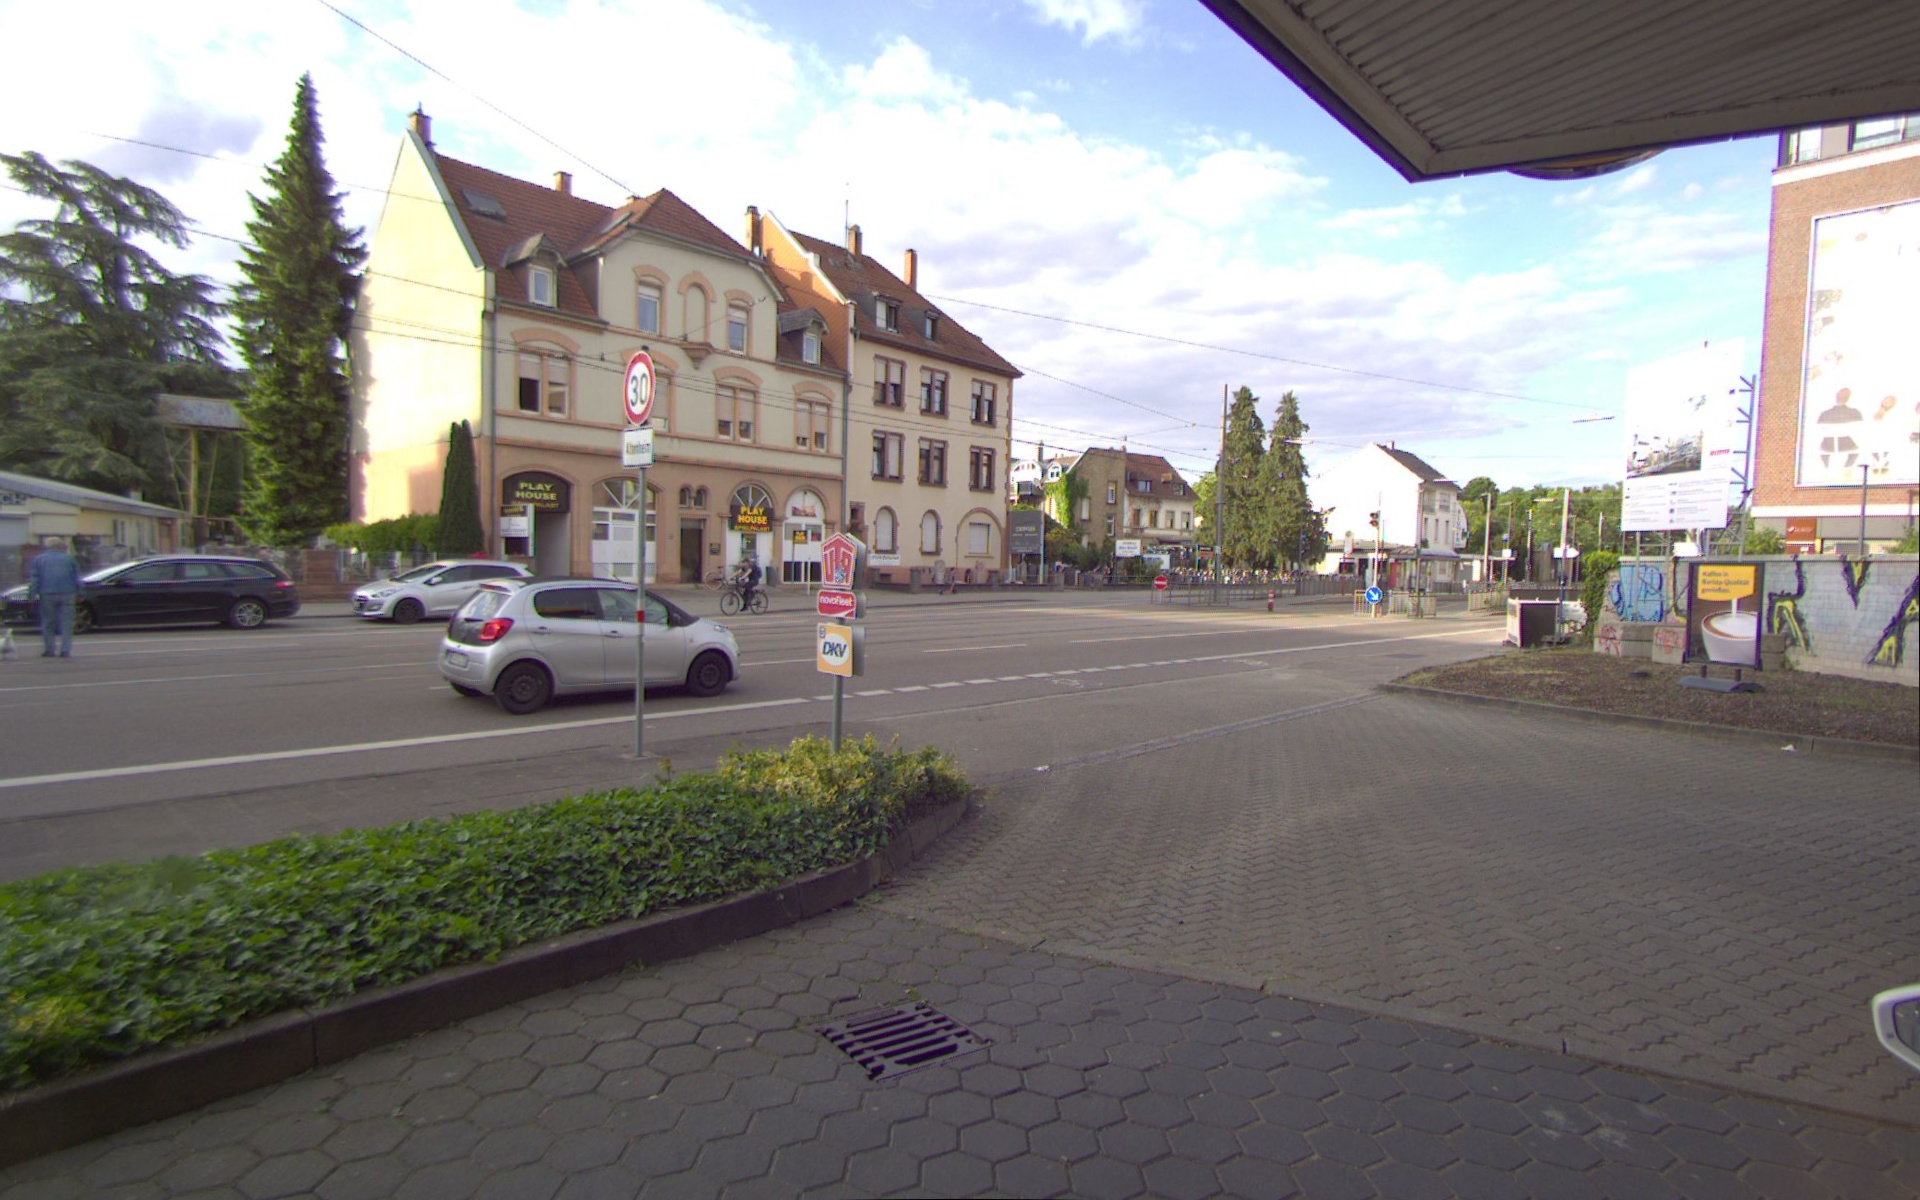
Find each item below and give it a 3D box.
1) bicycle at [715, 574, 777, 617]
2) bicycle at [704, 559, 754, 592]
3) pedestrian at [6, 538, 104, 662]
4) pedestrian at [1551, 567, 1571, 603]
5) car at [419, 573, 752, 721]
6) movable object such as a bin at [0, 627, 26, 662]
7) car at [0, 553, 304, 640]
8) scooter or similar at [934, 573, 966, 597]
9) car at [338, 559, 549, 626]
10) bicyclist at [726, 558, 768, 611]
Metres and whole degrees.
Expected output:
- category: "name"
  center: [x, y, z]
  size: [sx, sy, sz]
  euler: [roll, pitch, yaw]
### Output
- category: "bicycle"
  center: [-6.484, -0.153, 30.510]
  size: [0.669, 1.239, 1.912]
  euler: [1, 2, 35]
- category: "bicycle"
  center: [-9.111, -0.953, 39.614]
  size: [0.665, 1.229, 1.862]
  euler: [4, 2, 41]
- category: "pedestrian"
  center: [-12.988, -0.018, 14.449]
  size: [0.995, 1.690, 0.959]
  euler: [0, 3, -40]
- category: "pedestrian"
  center: [34.545, -0.847, 57.722]
  size: [0.797, 2.040, 0.845]
  euler: [2, 0, 44]
- category: "car"
  center: [-4.452, 0.453, 12.213]
  size: [1.666, 1.452, 3.407]
  euler: [5, 4, 43]
- category: "movable object such as a bin"
  center: [-13.456, 0.619, 14.054]
  size: [0.669, 0.426, 0.479]
  euler: [3, 3, 39]
- category: "car"
  center: [-16.604, -0.139, 20.738]
  size: [1.983, 1.520, 4.755]
  euler: [4, 4, 39]
- category: "scooter or similar"
  center: [-0.440, -0.662, 45.115]
  size: [0.461, 1.041, 1.655]
  euler: [4, 3, 40]
- category: "car"
  center: [-12.924, -0.234, 25.360]
  size: [1.699, 1.503, 4.434]
  euler: [4, 4, 40]
- category: "bicyclist"
  center: [-6.468, -0.472, 30.498]
  size: [0.669, 1.555, 1.081]
  euler: [1, 2, 35]
